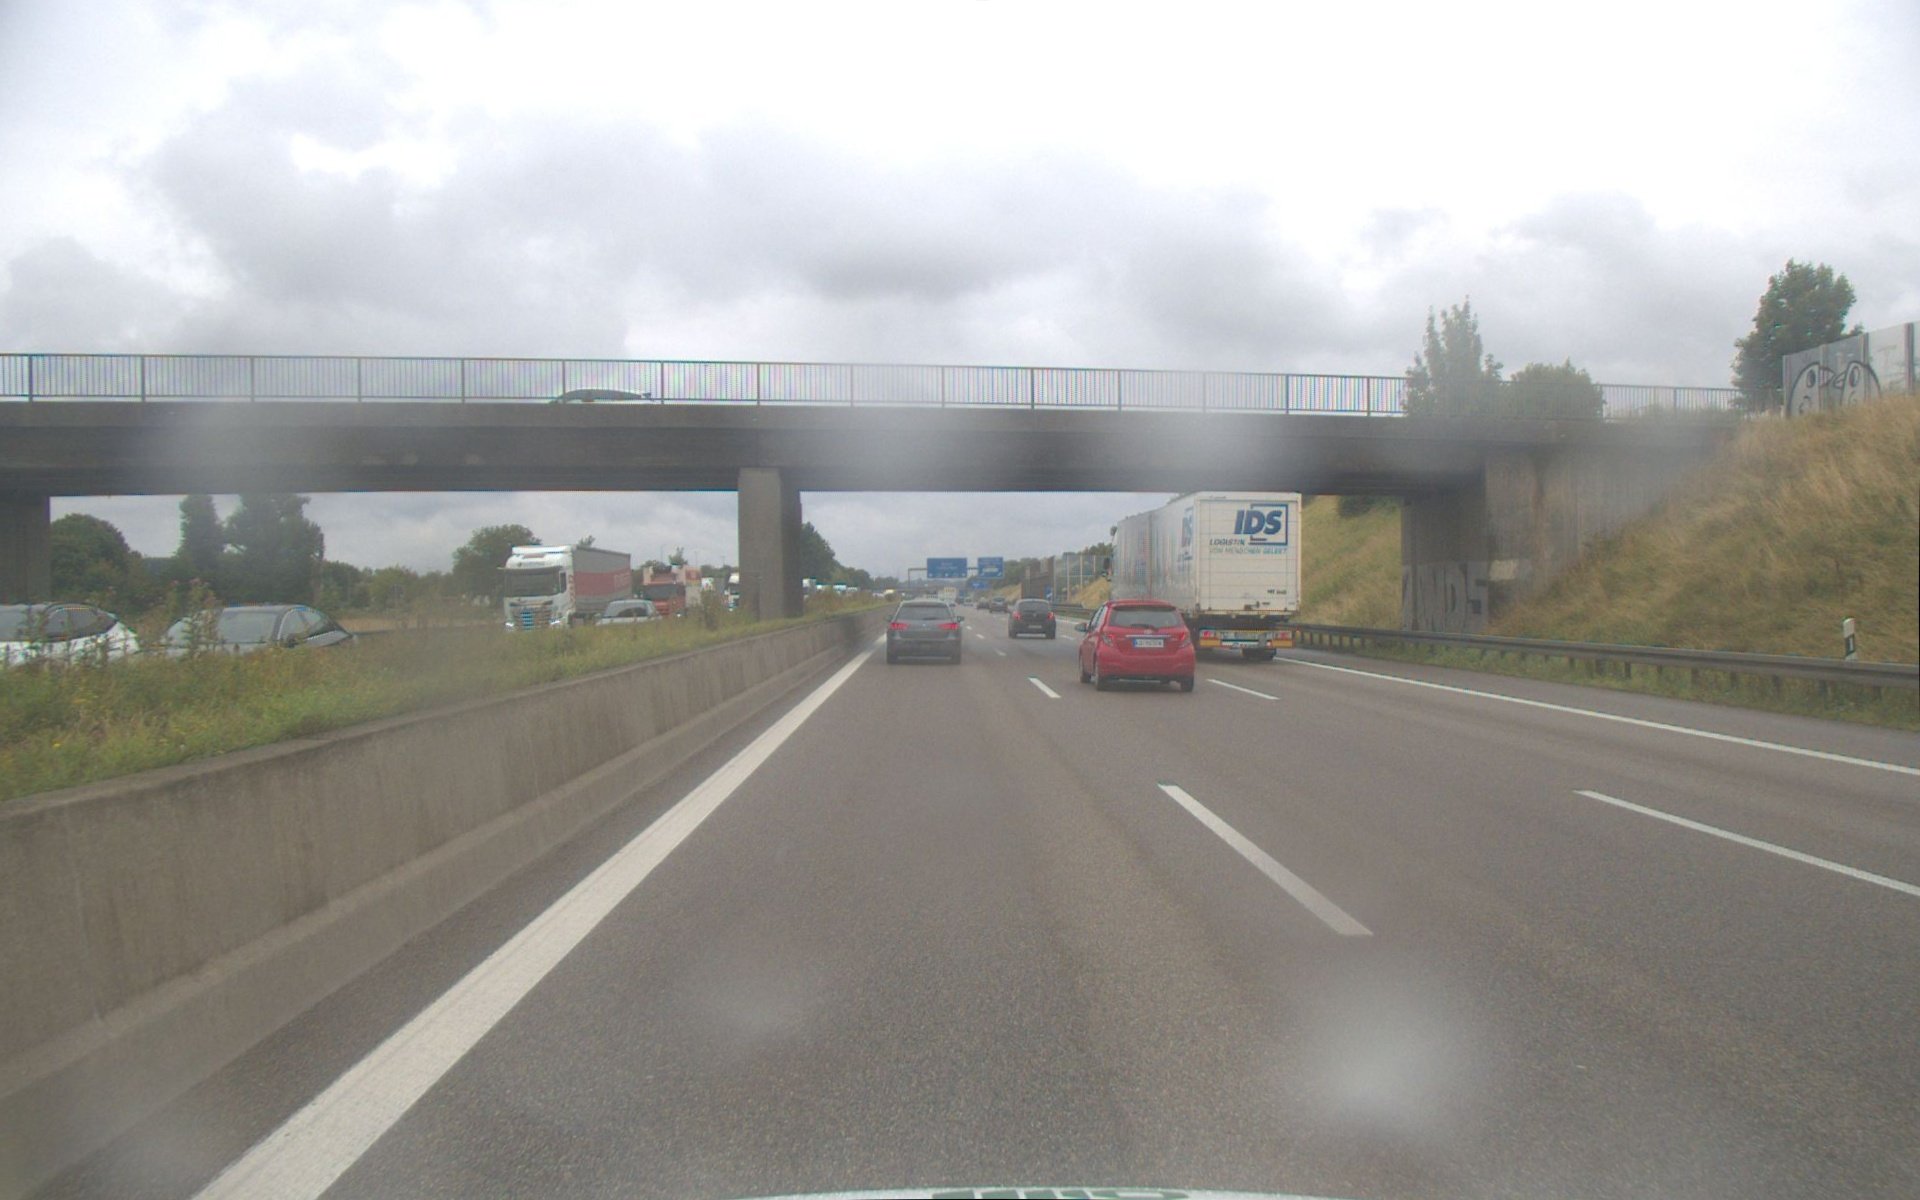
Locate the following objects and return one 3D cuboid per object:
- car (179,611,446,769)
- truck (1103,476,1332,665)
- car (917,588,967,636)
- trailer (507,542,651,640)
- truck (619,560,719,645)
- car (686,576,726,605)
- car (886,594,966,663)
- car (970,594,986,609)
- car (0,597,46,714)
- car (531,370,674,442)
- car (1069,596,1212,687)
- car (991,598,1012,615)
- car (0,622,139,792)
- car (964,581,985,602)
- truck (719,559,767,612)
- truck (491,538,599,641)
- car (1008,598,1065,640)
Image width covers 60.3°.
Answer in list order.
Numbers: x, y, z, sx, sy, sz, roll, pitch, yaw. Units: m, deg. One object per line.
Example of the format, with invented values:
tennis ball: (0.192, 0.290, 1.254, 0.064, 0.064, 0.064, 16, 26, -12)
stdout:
car: (-8.379, 1.095, 21.836, 1.953, 1.847, 3.999, 1, -1, -1)
truck: (6.877, -0.622, 48.371, 3.217, 4.370, 19.026, 1, 0, -1)
car: (-0.758, 0.473, 68.059, 1.953, 1.893, 3.999, -1, 0, -1)
trailer: (-17.533, -0.331, 77.680, 3.256, 4.048, 15.740, 1, 0, -1)
truck: (-18.576, 0.189, 106.800, 3.951, 5.031, 14.430, 1, -1, -1)
car: (-18.588, -0.662, 121.305, 2.113, 2.049, 5.236, 1, -1, -1)
car: (-0.811, 0.645, 38.469, 1.733, 1.493, 3.998, 1, -1, -2)
car: (2.284, 0.189, 215.692, 1.953, 1.843, 4.227, -1, 0, -1)
car: (-17.821, 0.948, 28.473, 1.953, 2.049, 3.999, 1, -1, -1)
car: (-10.291, -5.567, 47.654, 3.920, 1.646, 1.873, 1, -1, -14)
car: (3.076, 0.668, 29.151, 1.853, 1.472, 4.683, 0, 0, -2)
car: (4.175, 0.647, 167.118, 1.808, 1.716, 3.998, 1, -1, -2)
car: (-12.768, 1.367, 21.966, 1.749, 2.049, 3.999, -1, 0, -1)
car: (1.386, -0.832, 163.815, 1.953, 2.049, 3.999, 1, -1, -1)
truck: (-19.057, -1.185, 145.632, 2.916, 4.394, 9.667, 1, -1, -1)
truck: (-17.398, -0.391, 69.704, 3.206, 4.116, 5.291, 1, -1, -1)
car: (2.912, 0.707, 63.582, 1.882, 1.548, 4.621, 0, 0, -1)
